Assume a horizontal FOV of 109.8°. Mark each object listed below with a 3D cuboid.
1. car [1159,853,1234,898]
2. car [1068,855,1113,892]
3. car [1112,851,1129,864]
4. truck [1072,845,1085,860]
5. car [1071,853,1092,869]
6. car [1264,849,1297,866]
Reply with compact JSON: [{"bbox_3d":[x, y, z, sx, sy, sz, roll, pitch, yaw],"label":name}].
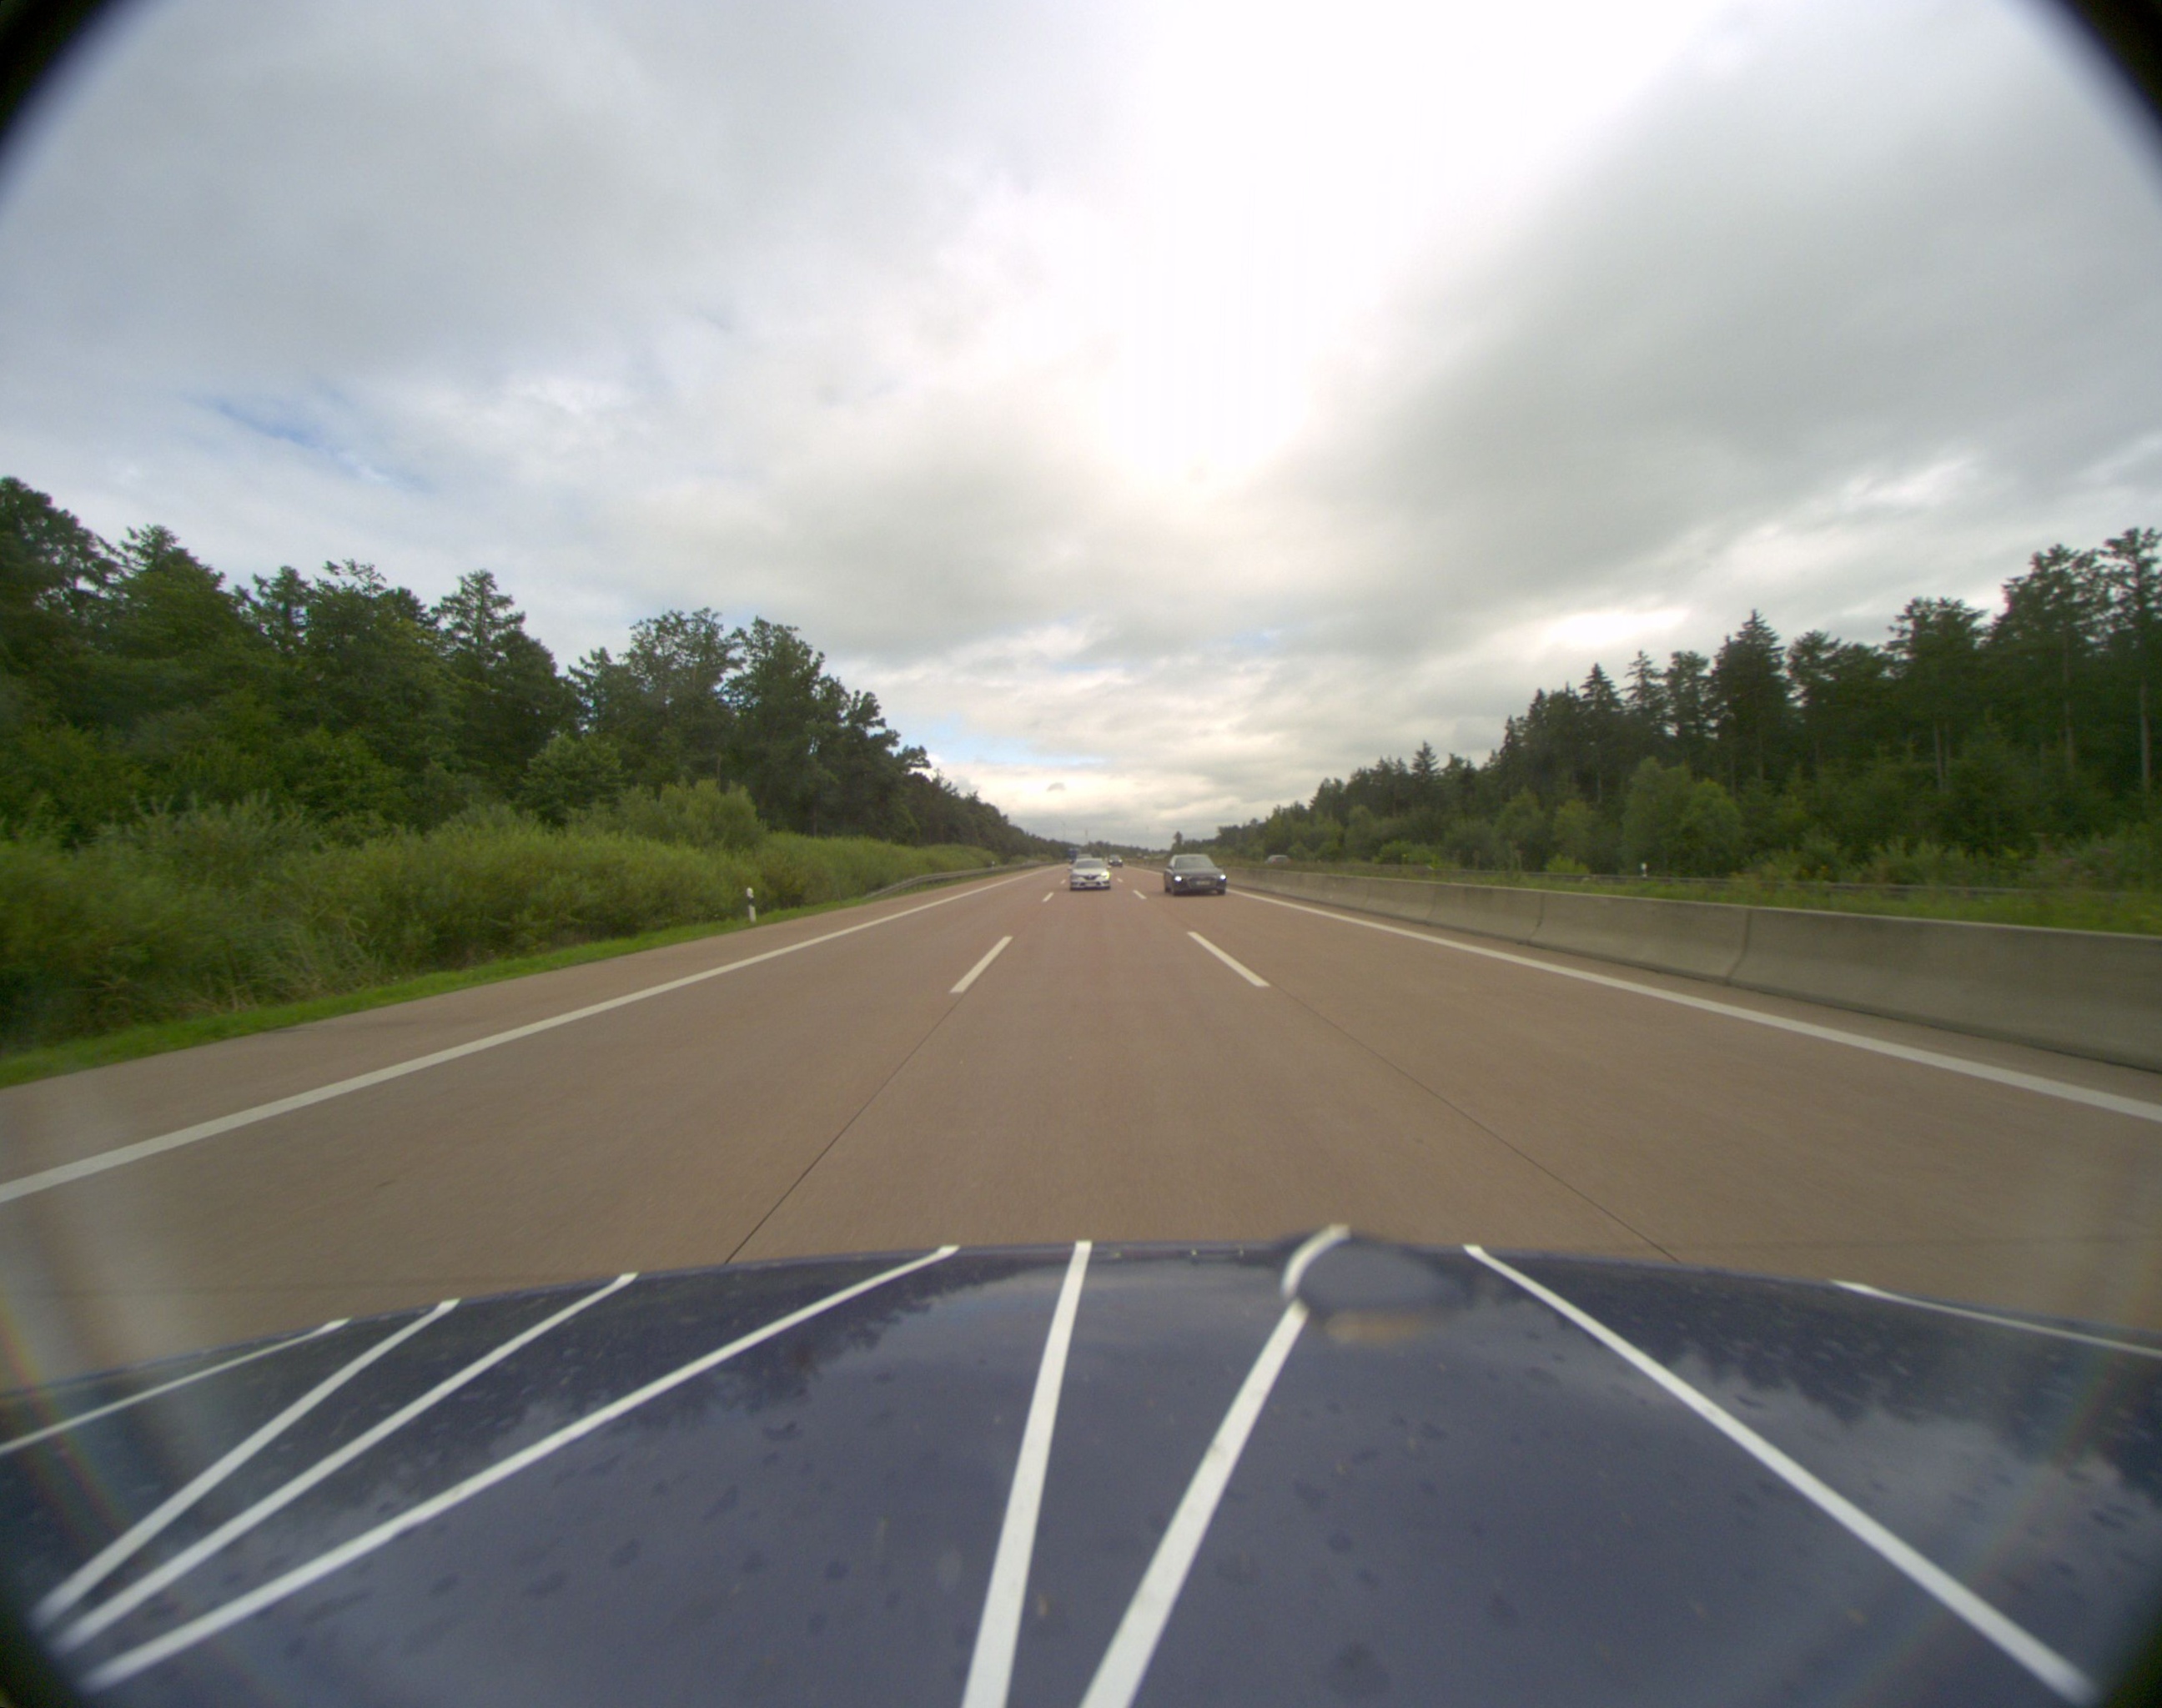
[{"bbox_3d":[4.308,0.760,29.149,2.064,1.483,5.453,-2,0,1],"label":"car"},{"bbox_3d":[0.518,0.860,35.213,1.923,1.516,4.001,-2,0,2],"label":"car"},{"bbox_3d":[5.383,0.457,103.512,1.998,1.689,5.252,-2,1,1],"label":"car"},{"bbox_3d":[-0.698,-0.291,198.610,2.956,3.705,7.950,-5,0,1],"label":"truck"},{"bbox_3d":[0.087,0.661,76.052,1.986,1.499,4.052,-2,0,1],"label":"car"},{"bbox_3d":[19.654,0.319,75.098,1.998,1.671,4.886,0,0,1],"label":"car"}]
